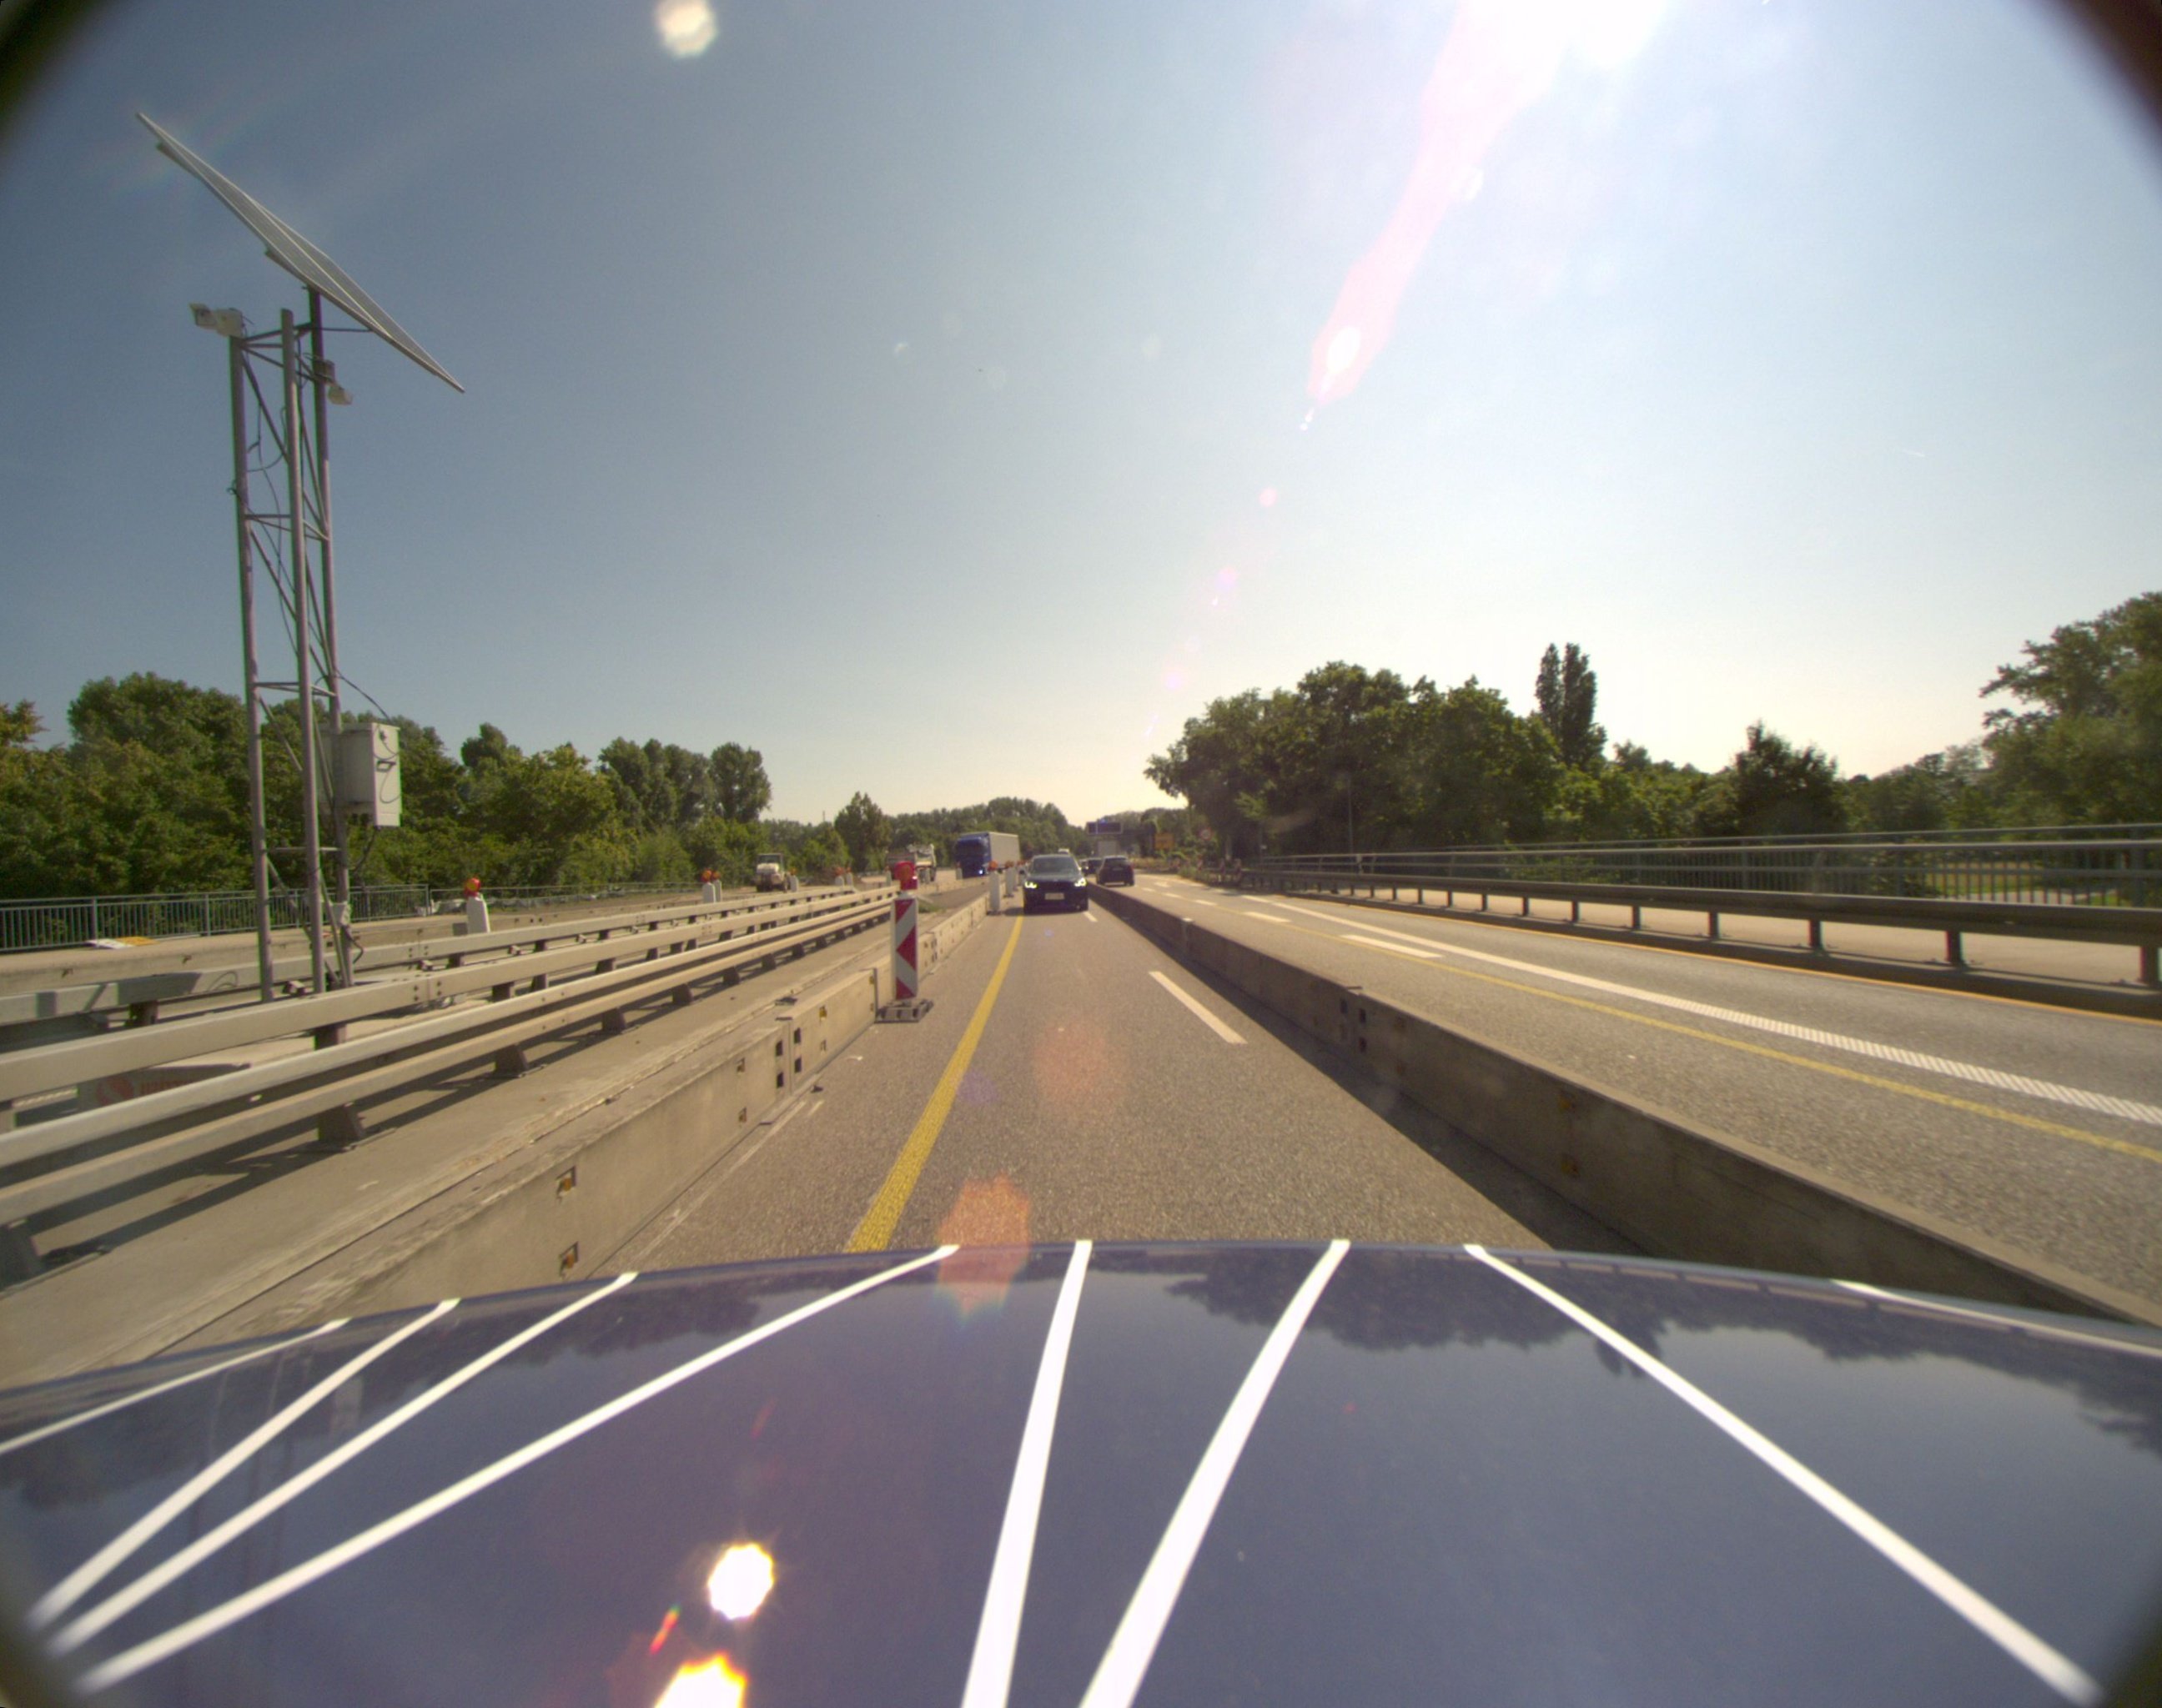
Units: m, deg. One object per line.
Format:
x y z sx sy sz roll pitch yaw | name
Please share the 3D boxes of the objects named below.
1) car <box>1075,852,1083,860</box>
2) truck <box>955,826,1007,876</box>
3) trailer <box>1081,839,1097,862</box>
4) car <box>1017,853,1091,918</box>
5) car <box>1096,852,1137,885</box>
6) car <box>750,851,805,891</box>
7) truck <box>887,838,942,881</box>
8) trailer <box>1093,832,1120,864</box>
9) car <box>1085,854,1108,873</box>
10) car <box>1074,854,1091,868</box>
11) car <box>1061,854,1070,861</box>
-0.505 0.506 199.464 1.998 2.002 4.001 -1 0 4 | car
-8.511 -0.285 65.879 2.860 3.962 8.667 -1 0 3 | truck
1.503 -0.715 147.067 2.627 4.103 14.065 -1 0 0 | trailer
-0.711 0.877 23.258 1.789 1.651 4.487 -4 0 3 | car
1.885 0.765 41.870 1.868 1.622 4.565 -2 0 -2 | car
-21.296 1.119 53.586 2.111 2.627 5.980 -1 0 -7 | car
-14.235 0.450 65.701 2.605 3.413 8.735 -1 0 1 | truck
3.364 -0.708 103.467 2.811 4.019 13.466 -1 0 -1 | trailer
1.335 0.798 65.831 1.743 1.543 3.941 -2 0 -2 | car
0.128 0.781 82.603 1.819 1.409 4.152 -2 0 -1 | car
-3.457 0.783 170.366 1.747 1.621 4.092 -1 0 1 | car
